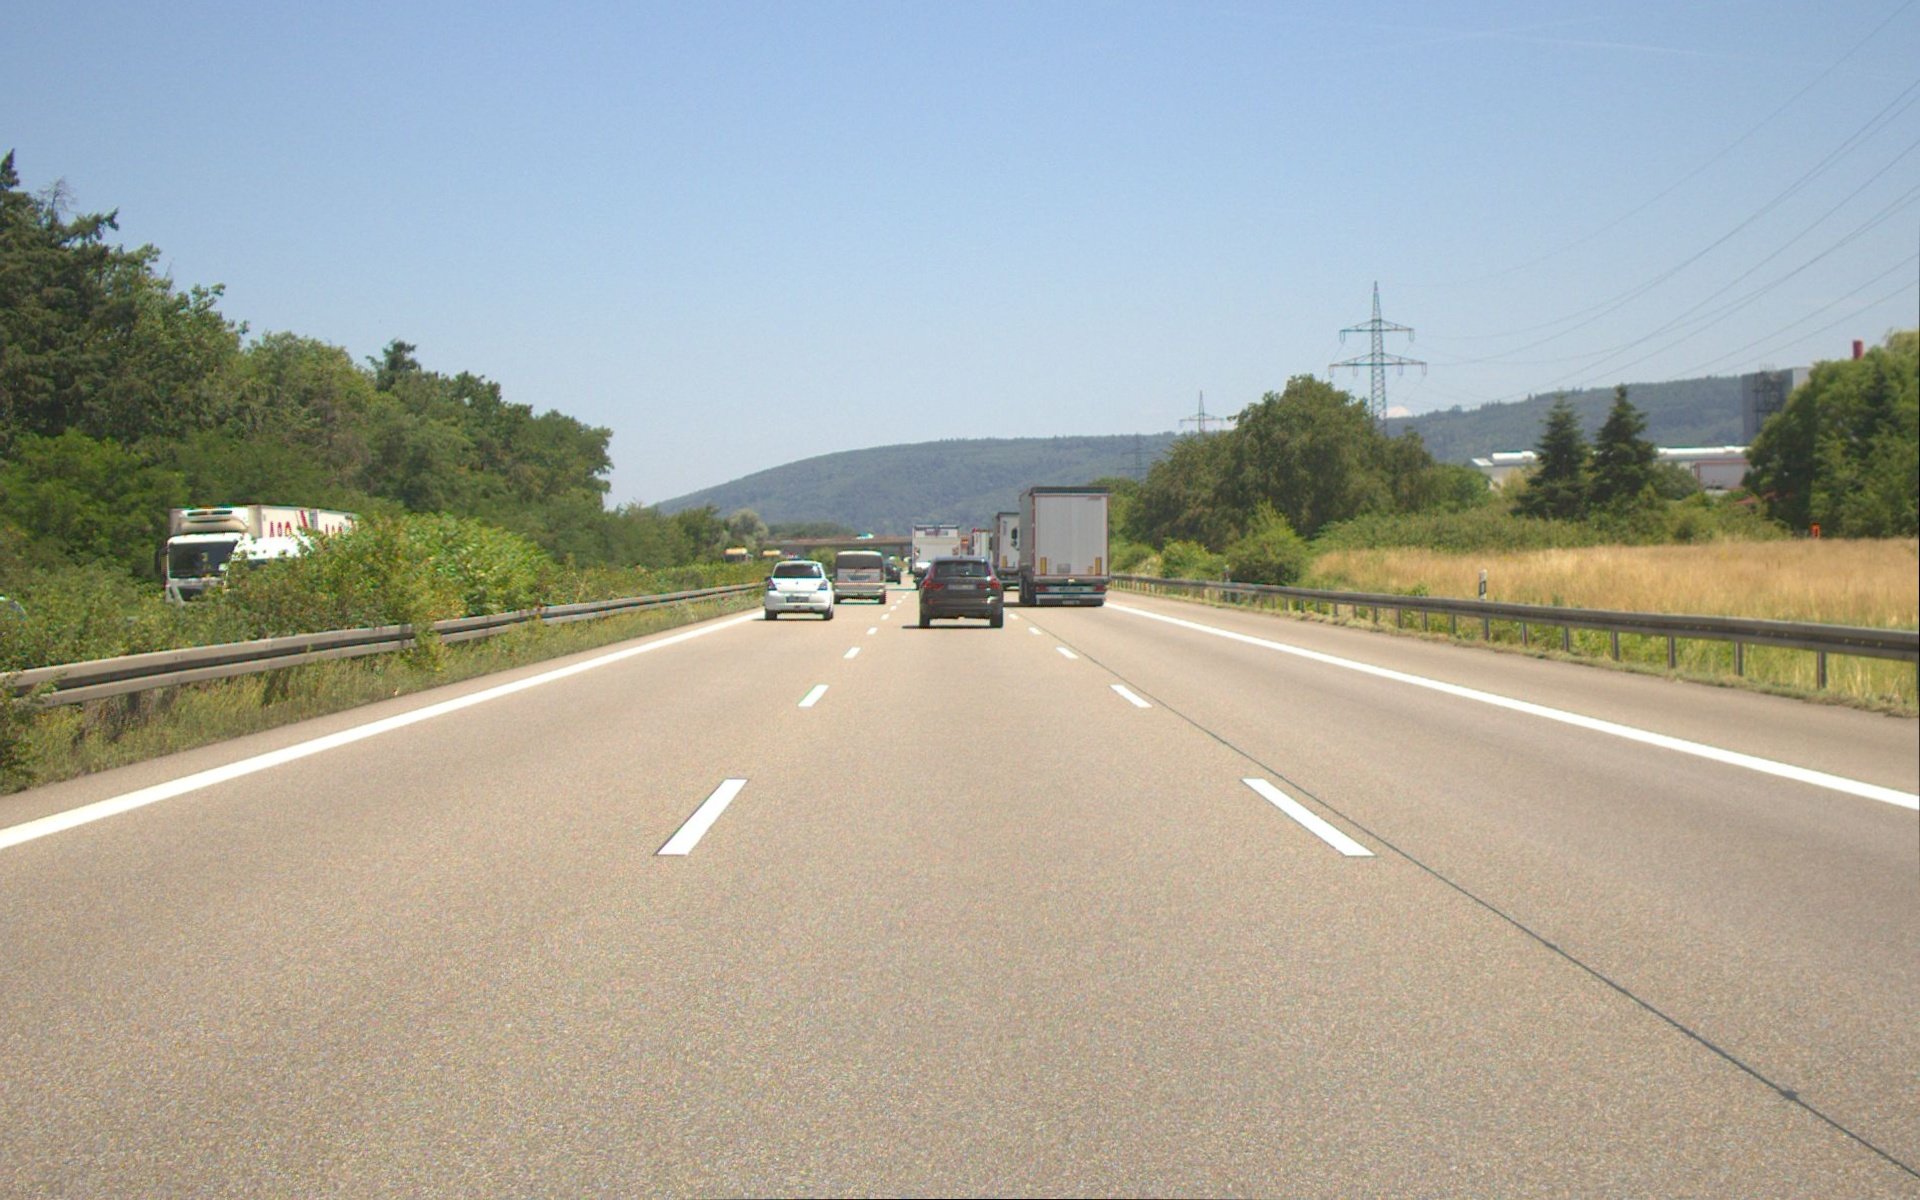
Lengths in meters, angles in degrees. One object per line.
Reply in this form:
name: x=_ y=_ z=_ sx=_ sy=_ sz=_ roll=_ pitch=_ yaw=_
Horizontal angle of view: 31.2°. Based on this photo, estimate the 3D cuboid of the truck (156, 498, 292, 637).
truck: x=-21.037 y=-0.955 z=98.533 sx=2.696 sy=3.844 sz=5.773 roll=1 pitch=1 yaw=-1

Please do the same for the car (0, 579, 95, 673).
car: x=-15.496 y=0.392 z=55.909 sx=1.786 sy=1.397 sz=4.329 roll=1 pitch=1 yaw=0

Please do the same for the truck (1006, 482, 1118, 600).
truck: x=3.419 y=-2.046 z=118.678 sx=3.265 sy=3.844 sz=11.632 roll=1 pitch=1 yaw=-1

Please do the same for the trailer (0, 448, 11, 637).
trailer: x=-20.792 y=-1.077 z=64.432 sx=2.664 sy=3.844 sz=12.754 roll=1 pitch=1 yaw=-1

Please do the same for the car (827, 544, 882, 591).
car: x=-3.741 y=-1.174 z=122.519 sx=1.852 sy=1.627 sz=4.000 roll=1 pitch=1 yaw=0

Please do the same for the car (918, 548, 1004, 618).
car: x=0.017 y=-0.408 z=78.303 sx=1.885 sy=1.510 sz=4.000 roll=1 pitch=1 yaw=0

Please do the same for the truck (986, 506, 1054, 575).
truck: x=3.086 y=-3.125 z=180.015 sx=3.097 sy=3.462 sz=11.543 roll=1 pitch=1 yaw=-1

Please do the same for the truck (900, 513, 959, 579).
truck: x=-1.702 y=-2.982 z=188.013 sx=3.097 sy=3.462 sz=11.543 roll=1 pitch=1 yaw=-1

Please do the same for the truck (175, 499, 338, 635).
truck: x=-21.121 y=-1.056 z=103.863 sx=2.696 sy=3.844 sz=11.448 roll=1 pitch=1 yaw=-1

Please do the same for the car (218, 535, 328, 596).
car: x=-16.545 y=-0.847 z=82.958 sx=1.786 sy=1.397 sz=4.329 roll=1 pitch=1 yaw=0

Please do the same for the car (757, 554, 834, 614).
car: x=-4.218 y=-0.429 z=88.634 sx=1.806 sy=1.463 sz=4.000 roll=1 pitch=1 yaw=0

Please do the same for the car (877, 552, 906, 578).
car: x=-4.607 y=-2.373 z=232.309 sx=1.852 sy=1.627 sz=4.000 roll=1 pitch=1 yaw=0
